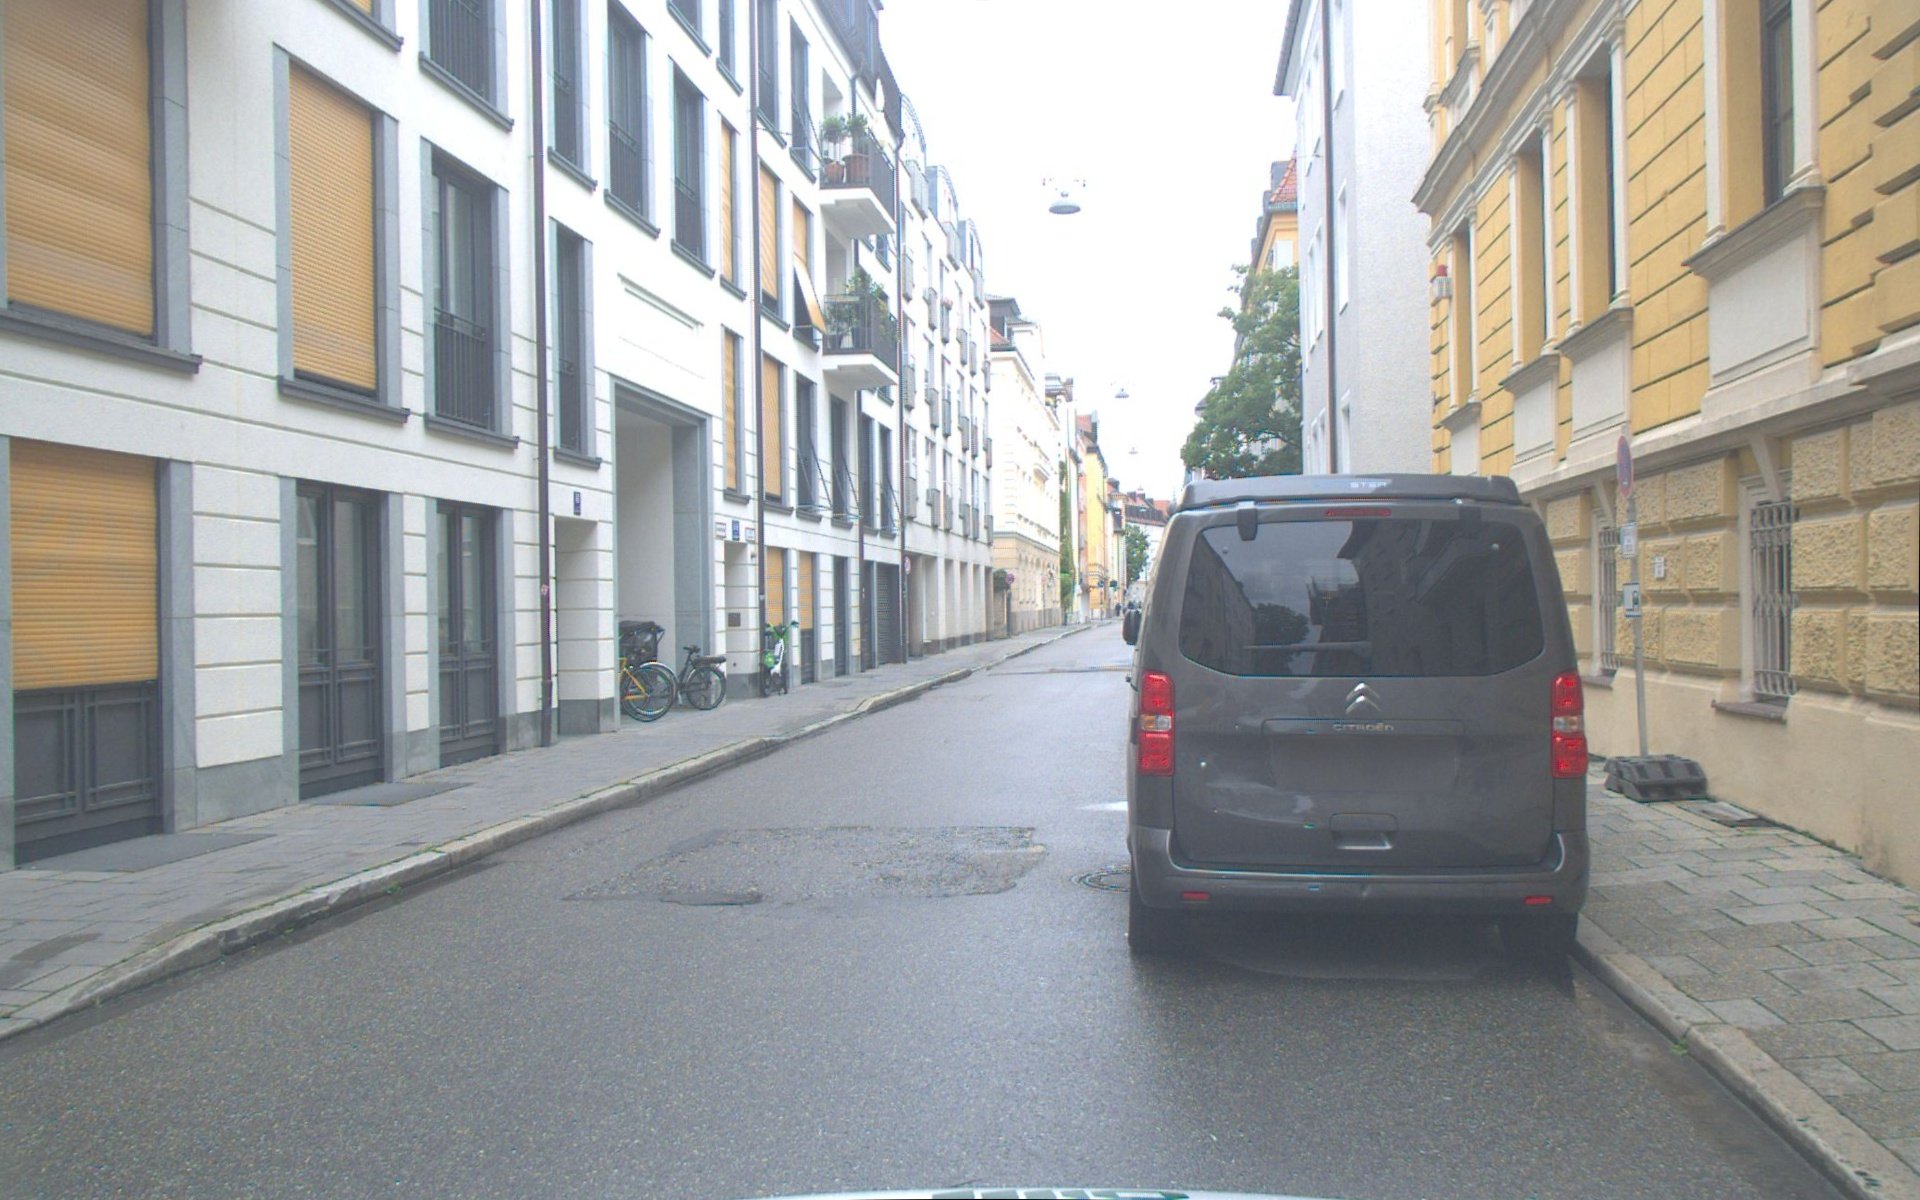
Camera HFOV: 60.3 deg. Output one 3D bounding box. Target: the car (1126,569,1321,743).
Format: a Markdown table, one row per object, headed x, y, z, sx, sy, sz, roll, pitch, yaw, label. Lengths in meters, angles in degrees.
| x | y | z | sx | sy | sz | roll | pitch | yaw | label |
| --- | --- | --- | --- | --- | --- | --- | --- | --- | --- |
| 2.814 | 0.549 | 18.413 | 1.854 | 1.670 | 4.325 | -1 | 0 | 6 | car |

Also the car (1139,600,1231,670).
| x | y | z | sx | sy | sz | roll | pitch | yaw | label |
| --- | --- | --- | --- | --- | --- | --- | --- | --- | --- |
| 4.877 | 0.721 | 36.214 | 1.854 | 1.401 | 3.942 | -1 | 0 | 6 | car |

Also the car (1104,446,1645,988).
| x | y | z | sx | sy | sz | roll | pitch | yaw | label |
| --- | --- | --- | --- | --- | --- | --- | --- | --- | --- |
| 1.758 | 0.417 | 8.413 | 1.951 | 1.966 | 4.663 | 0 | 0 | 6 | car |

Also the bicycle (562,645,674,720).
| x | y | z | sx | sy | sz | roll | pitch | yaw | label |
| --- | --- | --- | --- | --- | --- | --- | --- | --- | --- |
| -4.427 | 1.054 | 21.425 | 1.370 | 0.904 | 0.377 | -1 | 1 | -27 | bicycle |

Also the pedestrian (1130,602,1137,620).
| x | y | z | sx | sy | sz | roll | pitch | yaw | label |
| --- | --- | --- | --- | --- | --- | --- | --- | --- | --- |
| 16.041 | 0.999 | 152.966 | 0.527 | 1.682 | 0.377 | -2 | 0 | 7 | pedestrian |

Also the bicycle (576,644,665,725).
| x | y | z | sx | sy | sz | roll | pitch | yaw | label |
| --- | --- | --- | --- | --- | --- | --- | --- | --- | --- |
| -4.256 | 1.052 | 20.750 | 1.051 | 0.964 | 0.305 | -1 | 1 | -27 | bicycle |

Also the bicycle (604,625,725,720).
| x | y | z | sx | sy | sz | roll | pitch | yaw | label |
| --- | --- | --- | --- | --- | --- | --- | --- | --- | --- |
| -4.016 | 0.967 | 22.566 | 1.670 | 1.214 | 0.375 | -1 | 1 | -40 | bicycle |

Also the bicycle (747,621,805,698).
| x | y | z | sx | sy | sz | roll | pitch | yaw | label |
| --- | --- | --- | --- | --- | --- | --- | --- | --- | --- |
| -2.904 | 0.928 | 26.288 | 0.332 | 1.166 | 2.193 | -2 | -1 | 8 | bicycle |

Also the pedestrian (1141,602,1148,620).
| x | y | z | sx | sy | sz | roll | pitch | yaw | label |
| --- | --- | --- | --- | --- | --- | --- | --- | --- | --- |
| 17.132 | 1.028 | 153.717 | 0.527 | 1.682 | 0.377 | -2 | 0 | 7 | pedestrian |
